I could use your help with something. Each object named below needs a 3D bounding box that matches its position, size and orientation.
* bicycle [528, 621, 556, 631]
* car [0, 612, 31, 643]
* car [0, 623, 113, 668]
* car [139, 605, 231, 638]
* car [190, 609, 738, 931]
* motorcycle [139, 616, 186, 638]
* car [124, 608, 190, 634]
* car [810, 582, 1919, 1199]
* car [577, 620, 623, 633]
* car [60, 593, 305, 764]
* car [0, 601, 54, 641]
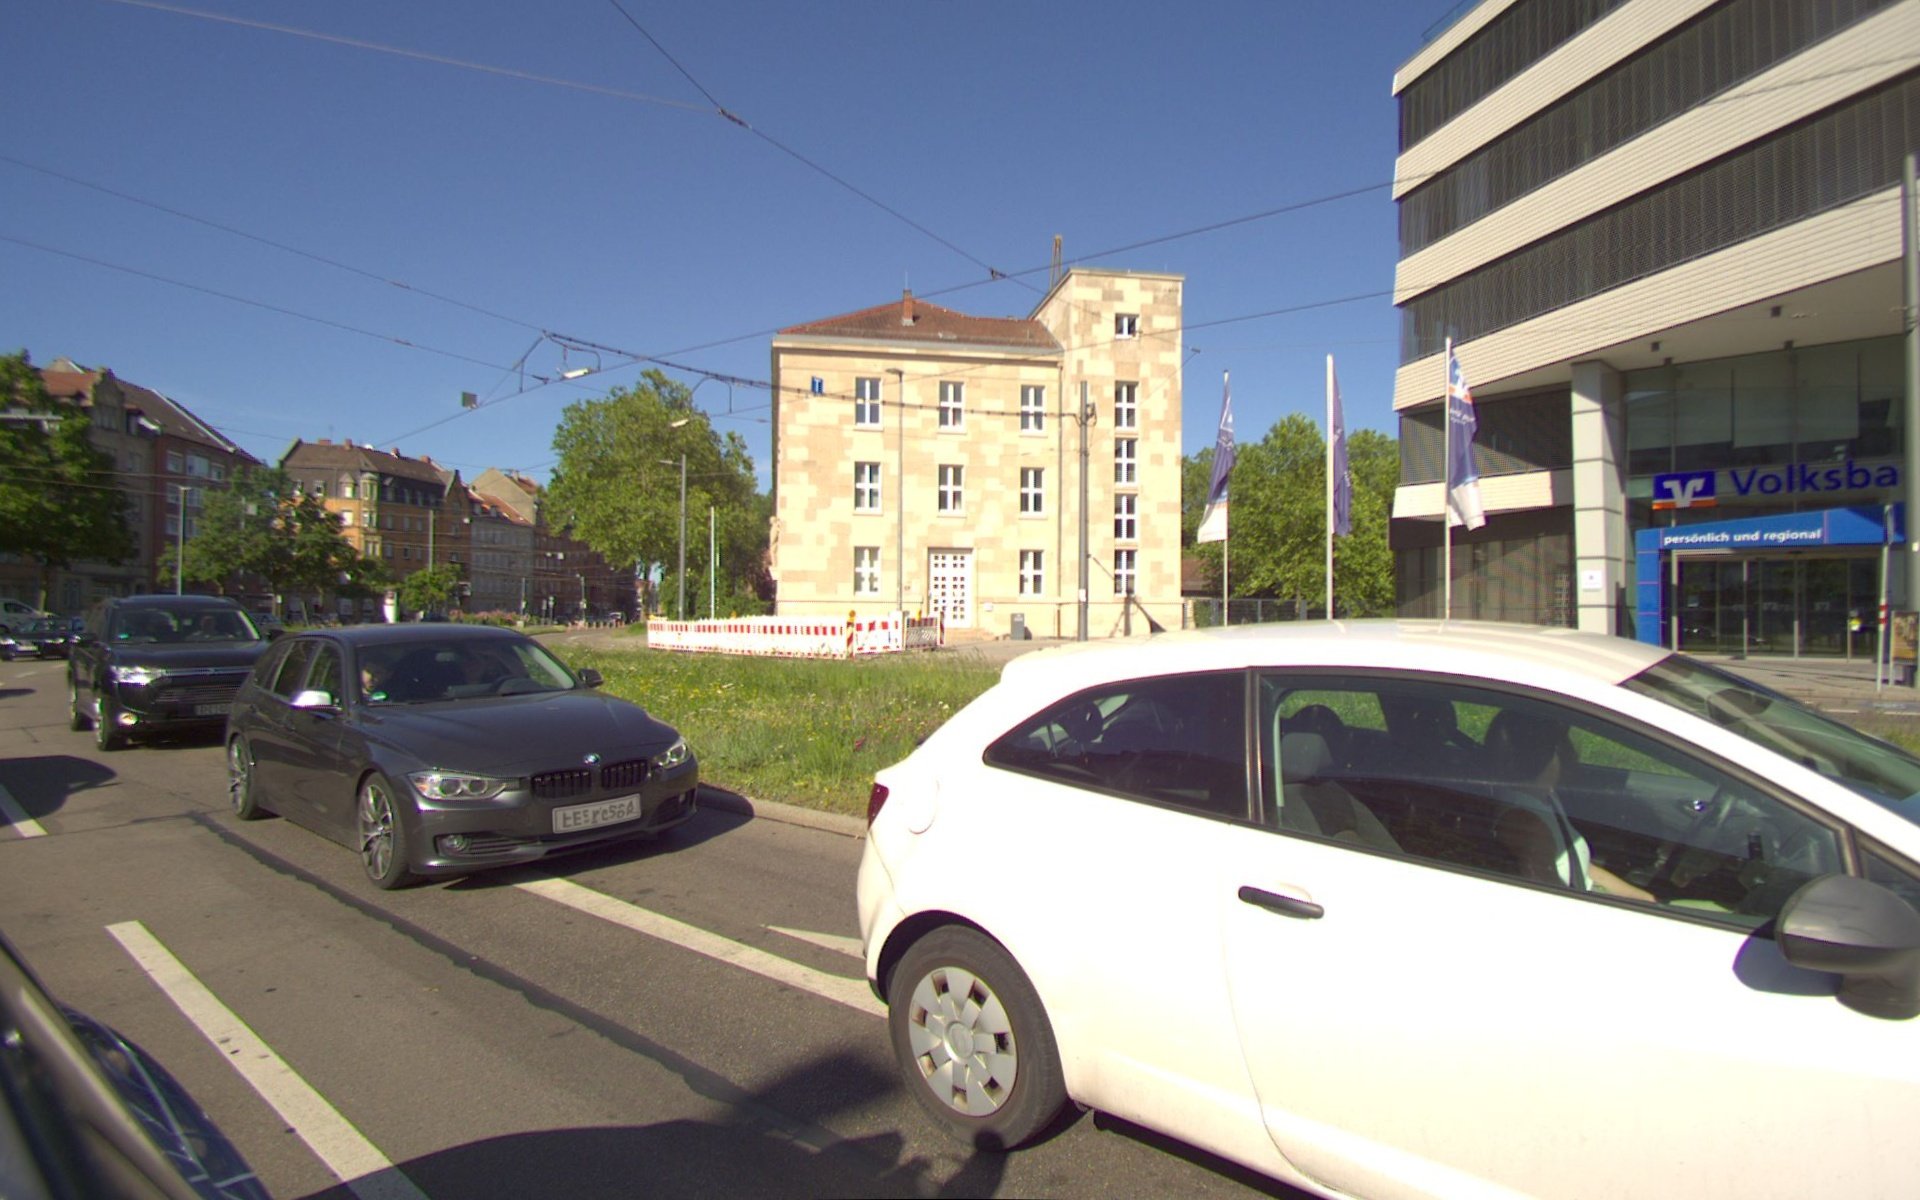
[{"bbox_3d":[-60.404,3.771,146.516,1.940,1.427,6.837,1,-2,-7],"label":"bicycle"},{"bbox_3d":[-48.813,1.325,50.150,3.970,1.490,1.814,4,-2,-44],"label":"car"},{"bbox_3d":[-31.116,1.506,34.624,1.858,1.438,4.390,0,-1,-20],"label":"car"},{"bbox_3d":[-53.790,1.527,70.297,2.022,2.091,4.809,-1,-3,45],"label":"car"},{"bbox_3d":[-3.575,0.827,6.842,4.465,1.434,1.716,-1,1,41],"label":"car"},{"bbox_3d":[-53.078,1.818,67.385,0.851,1.431,2.238,0,-3,30],"label":"motorcycle"},{"bbox_3d":[-63.585,1.607,80.247,1.970,1.483,4.499,-10,4,-8],"label":"car"},{"bbox_3d":[1.521,0.705,2.368,3.780,1.434,1.615,-1,1,41],"label":"car"},{"bbox_3d":[-42.744,3.107,120.247,4.886,1.464,1.837,1,-2,-4],"label":"car"},{"bbox_3d":[-9.592,0.813,12.323,1.815,1.695,4.646,0,-1,-45],"label":"car"},{"bbox_3d":[-50.545,1.030,52.524,5.105,2.028,2.104,3,-2,-40],"label":"car"}]
